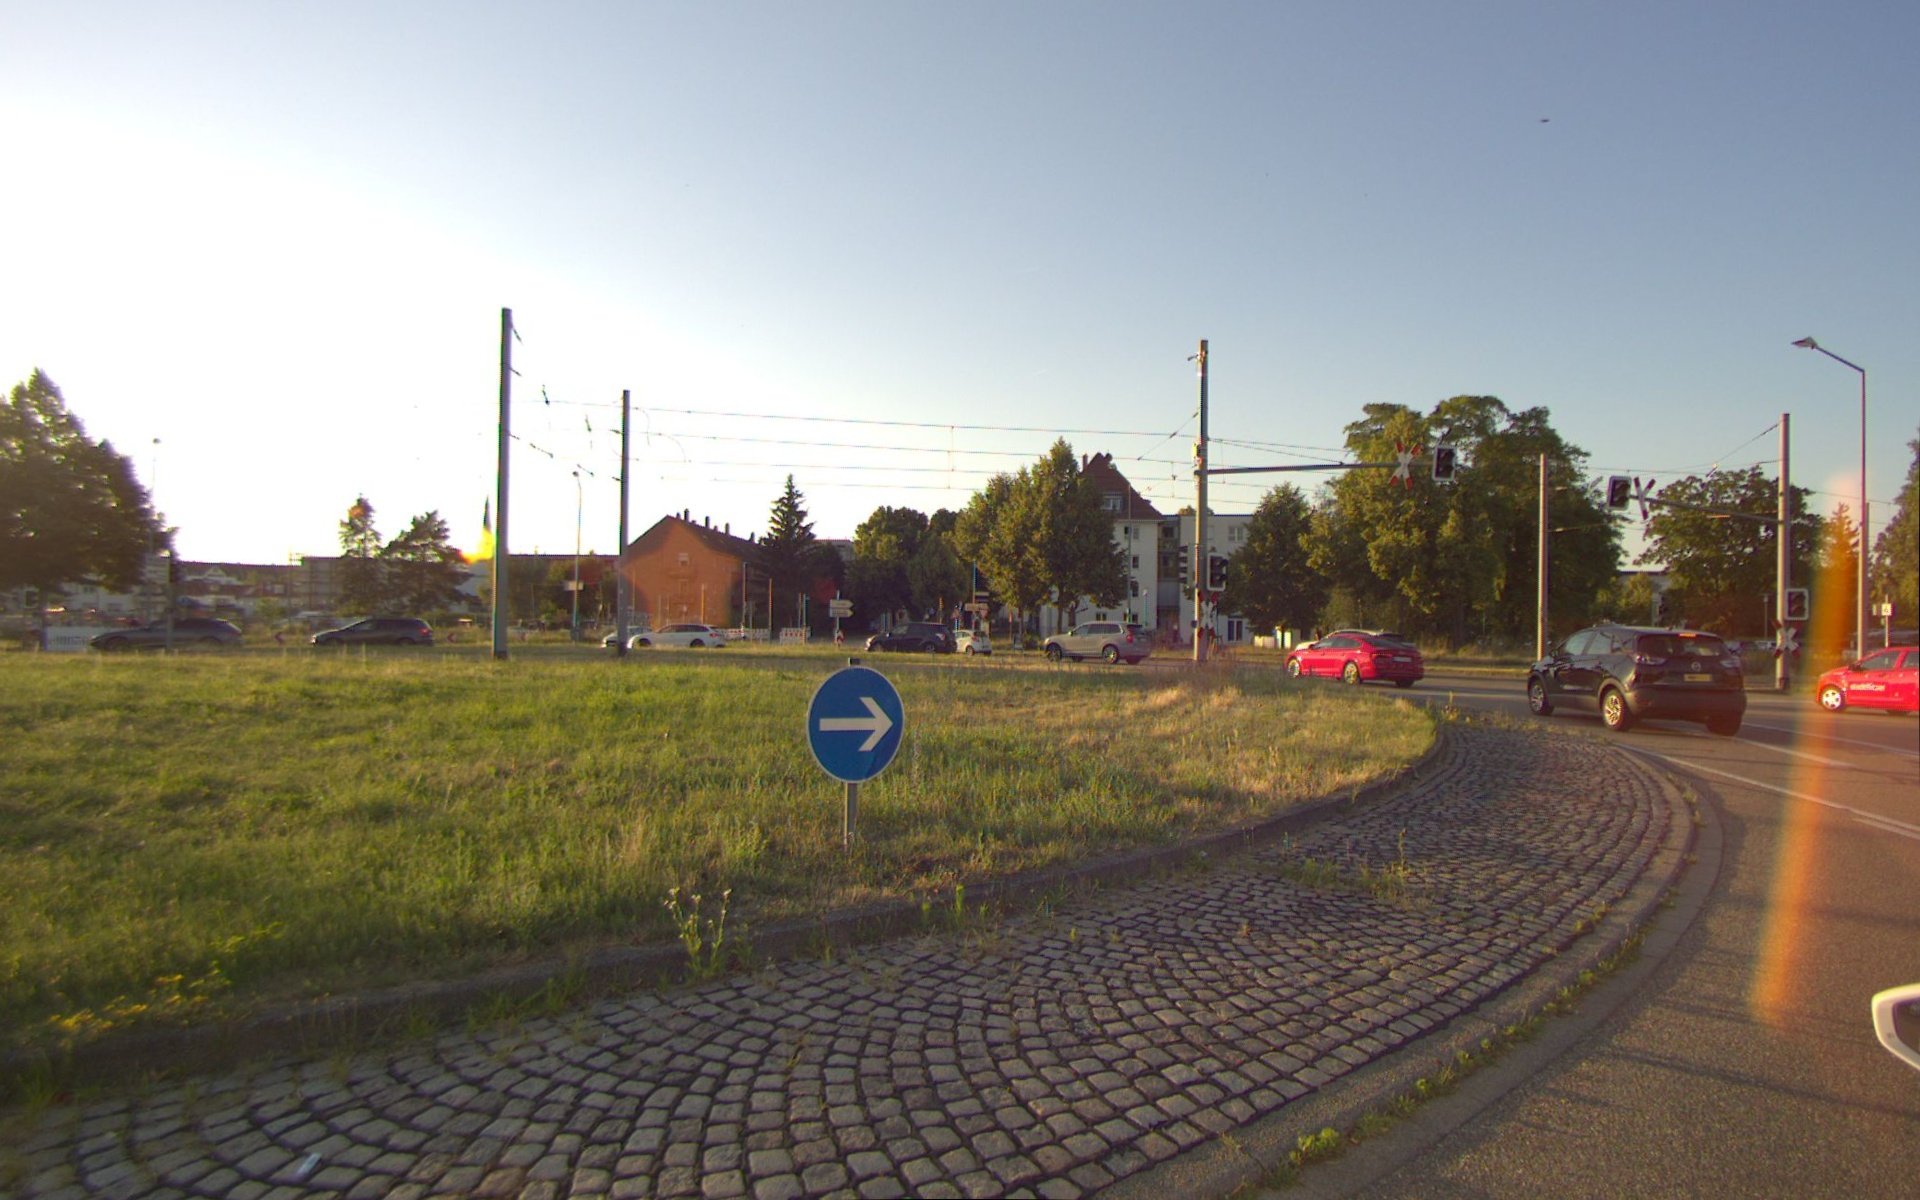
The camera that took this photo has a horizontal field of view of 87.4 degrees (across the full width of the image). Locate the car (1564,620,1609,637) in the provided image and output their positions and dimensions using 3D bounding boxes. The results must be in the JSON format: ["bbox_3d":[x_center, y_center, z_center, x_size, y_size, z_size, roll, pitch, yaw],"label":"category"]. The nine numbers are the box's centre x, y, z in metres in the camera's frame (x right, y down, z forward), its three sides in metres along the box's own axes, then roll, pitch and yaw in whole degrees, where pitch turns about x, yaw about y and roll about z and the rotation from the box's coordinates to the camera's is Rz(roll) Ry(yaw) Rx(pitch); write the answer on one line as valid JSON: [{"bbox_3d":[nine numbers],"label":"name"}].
[{"bbox_3d":[79.586,3.652,127.614,4.507,2.040,2.000,1,-1,0],"label":"car"}]

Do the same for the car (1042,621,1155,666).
[{"bbox_3d":[5.848,1.828,42.864,4.566,1.759,1.884,0,-1,44],"label":"car"}]

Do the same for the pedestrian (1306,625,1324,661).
[{"bbox_3d":[19.726,2.391,55.823,0.614,1.918,0.662,2,0,-35],"label":"pedestrian"}]

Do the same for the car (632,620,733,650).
[{"bbox_3d":[-13.811,1.744,50.119,4.377,1.385,2.111,1,-1,3],"label":"car"}]

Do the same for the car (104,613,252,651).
[{"bbox_3d":[-30.667,1.257,39.570,4.299,1.394,1.985,1,-1,-29],"label":"car"}]

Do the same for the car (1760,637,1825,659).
[{"bbox_3d":[66.370,3.788,80.162,1.960,1.625,4.002,1,-1,3],"label":"car"}]

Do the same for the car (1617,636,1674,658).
[{"bbox_3d":[54.758,3.702,80.329,1.960,1.625,4.002,1,-1,3],"label":"car"}]

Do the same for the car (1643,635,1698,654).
[{"bbox_3d":[69.214,4.329,97.923,3.919,1.684,1.904,1,-1,5],"label":"car"}]

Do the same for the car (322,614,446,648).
[{"bbox_3d":[-24.303,1.316,42.570,4.323,1.394,1.989,1,-1,-24],"label":"car"}]

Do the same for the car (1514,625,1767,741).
[{"bbox_3d":[10.866,1.232,16.426,1.857,1.605,4.003,1,-1,8],"label":"car"}]

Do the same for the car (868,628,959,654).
[{"bbox_3d":[-2.198,1.920,47.401,3.925,1.119,1.688,0,-1,25],"label":"car"}]

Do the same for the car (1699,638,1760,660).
[{"bbox_3d":[61.636,3.911,80.552,1.960,1.625,4.002,1,-1,3],"label":"car"}]

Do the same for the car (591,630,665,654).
[{"bbox_3d":[-20.396,2.560,61.904,2.069,1.385,4.467,0,-1,19],"label":"car"}]

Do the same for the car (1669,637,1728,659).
[{"bbox_3d":[59.518,3.849,81.030,1.960,1.625,4.002,1,-1,3],"label":"car"}]

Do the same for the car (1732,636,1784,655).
[{"bbox_3d":[77.351,4.418,97.405,3.938,1.684,1.894,0,-1,39],"label":"car"}]

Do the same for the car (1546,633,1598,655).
[{"bbox_3d":[49.416,3.544,81.222,1.960,1.625,4.002,1,-1,3],"label":"car"}]

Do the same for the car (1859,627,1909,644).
[{"bbox_3d":[108.038,4.127,117.435,3.919,1.840,2.001,1,-1,5],"label":"car"}]

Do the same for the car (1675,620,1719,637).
[{"bbox_3d":[93.212,3.589,127.020,4.033,2.040,2.001,1,-1,4],"label":"car"}]

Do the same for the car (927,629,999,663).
[{"bbox_3d":[0.160,2.665,58.626,3.945,1.840,1.988,0,-1,44],"label":"car"}]

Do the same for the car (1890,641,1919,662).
[{"bbox_3d":[76.354,4.088,79.465,1.960,1.625,4.002,1,-1,3],"label":"car"}]

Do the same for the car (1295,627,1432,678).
[{"bbox_3d":[15.348,1.953,38.480,1.977,1.728,4.677,1,-1,-30],"label":"car"}]

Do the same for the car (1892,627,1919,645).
[{"bbox_3d":[107.458,4.028,112.584,3.919,2.040,2.001,1,-1,11],"label":"car"}]

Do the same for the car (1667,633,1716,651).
[{"bbox_3d":[73.165,4.188,100.566,3.934,1.684,1.994,0,-1,35],"label":"car"}]

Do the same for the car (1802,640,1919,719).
[{"bbox_3d":[19.835,1.632,20.962,1.610,1.519,3.491,1,-1,0],"label":"car"}]

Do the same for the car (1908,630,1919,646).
[{"bbox_3d":[105.590,4.111,108.707,1.971,1.728,3.979,1,-1,-22],"label":"car"}]

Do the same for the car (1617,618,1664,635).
[{"bbox_3d":[86.261,3.382,127.429,4.505,2.040,2.001,1,-1,5],"label":"car"}]

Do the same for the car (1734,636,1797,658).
[{"bbox_3d":[64.017,3.716,79.923,1.960,1.625,4.002,1,-1,3],"label":"car"}]

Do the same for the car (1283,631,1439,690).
[{"bbox_3d":[10.964,1.613,27.843,1.862,1.410,4.487,1,-1,-12],"label":"car"}]
